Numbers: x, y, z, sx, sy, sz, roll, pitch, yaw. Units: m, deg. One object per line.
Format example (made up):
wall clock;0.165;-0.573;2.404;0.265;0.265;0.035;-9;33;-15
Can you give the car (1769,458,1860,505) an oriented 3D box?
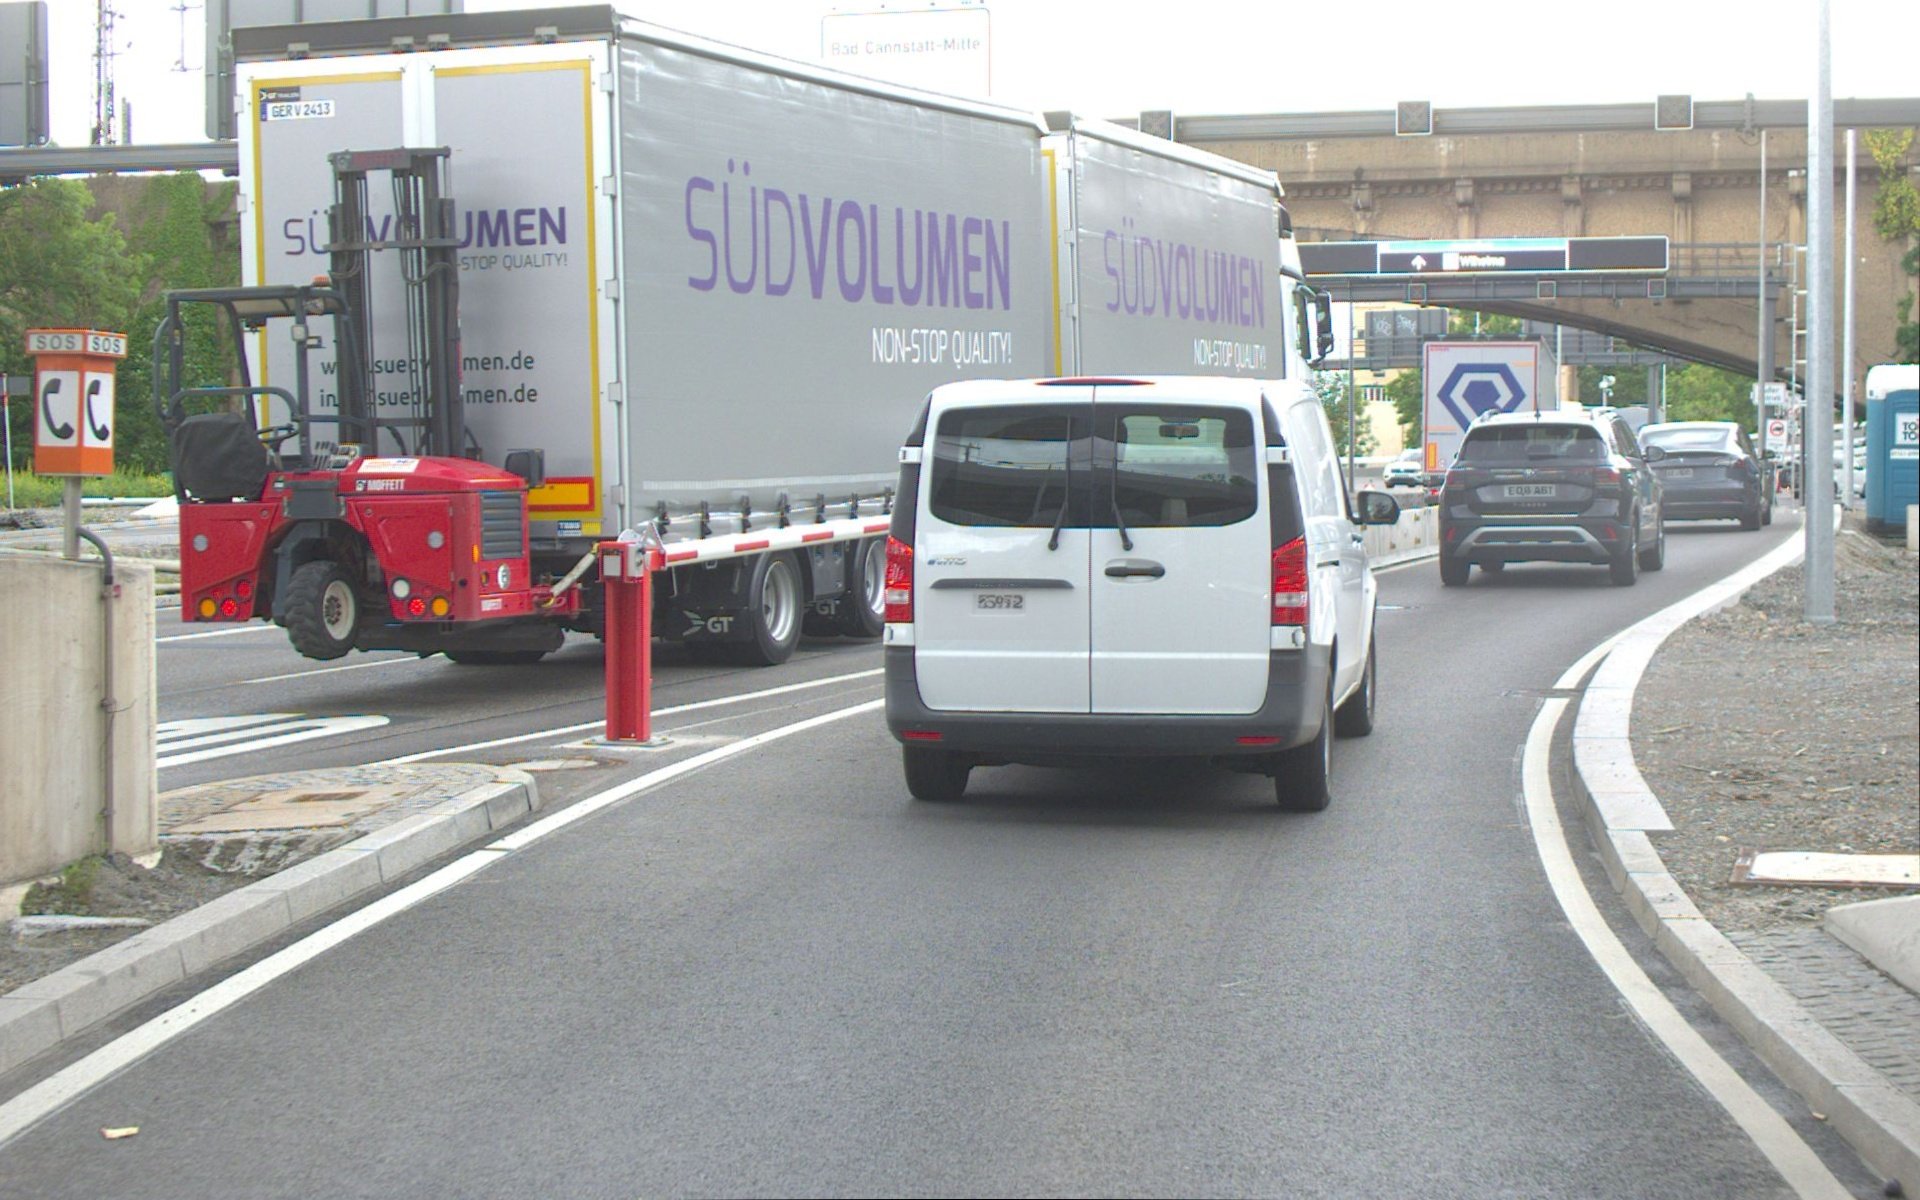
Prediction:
car;36.256;-5.030;145.829;1.902;1.802;4.474;2;1;40

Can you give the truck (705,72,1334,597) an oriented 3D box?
truck;1.012;-2.448;33.143;2.990;4.161;11.233;1;4;17

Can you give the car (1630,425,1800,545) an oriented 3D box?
car;9.887;-1.475;44.880;1.503;1.464;3.395;2;1;23

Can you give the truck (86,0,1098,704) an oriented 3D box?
truck;-1.962;-1.775;24.269;2.920;4.002;10.192;2;4;20

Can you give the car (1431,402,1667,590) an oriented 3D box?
car;5.502;-0.967;31.760;1.751;1.619;3.842;0;2;16

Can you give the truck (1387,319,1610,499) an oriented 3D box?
truck;13.146;-4.476;82.397;3.319;3.796;16.583;2;3;15

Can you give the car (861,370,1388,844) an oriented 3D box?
car;0.946;-0.130;16.385;1.877;1.884;4.752;2;4;10
